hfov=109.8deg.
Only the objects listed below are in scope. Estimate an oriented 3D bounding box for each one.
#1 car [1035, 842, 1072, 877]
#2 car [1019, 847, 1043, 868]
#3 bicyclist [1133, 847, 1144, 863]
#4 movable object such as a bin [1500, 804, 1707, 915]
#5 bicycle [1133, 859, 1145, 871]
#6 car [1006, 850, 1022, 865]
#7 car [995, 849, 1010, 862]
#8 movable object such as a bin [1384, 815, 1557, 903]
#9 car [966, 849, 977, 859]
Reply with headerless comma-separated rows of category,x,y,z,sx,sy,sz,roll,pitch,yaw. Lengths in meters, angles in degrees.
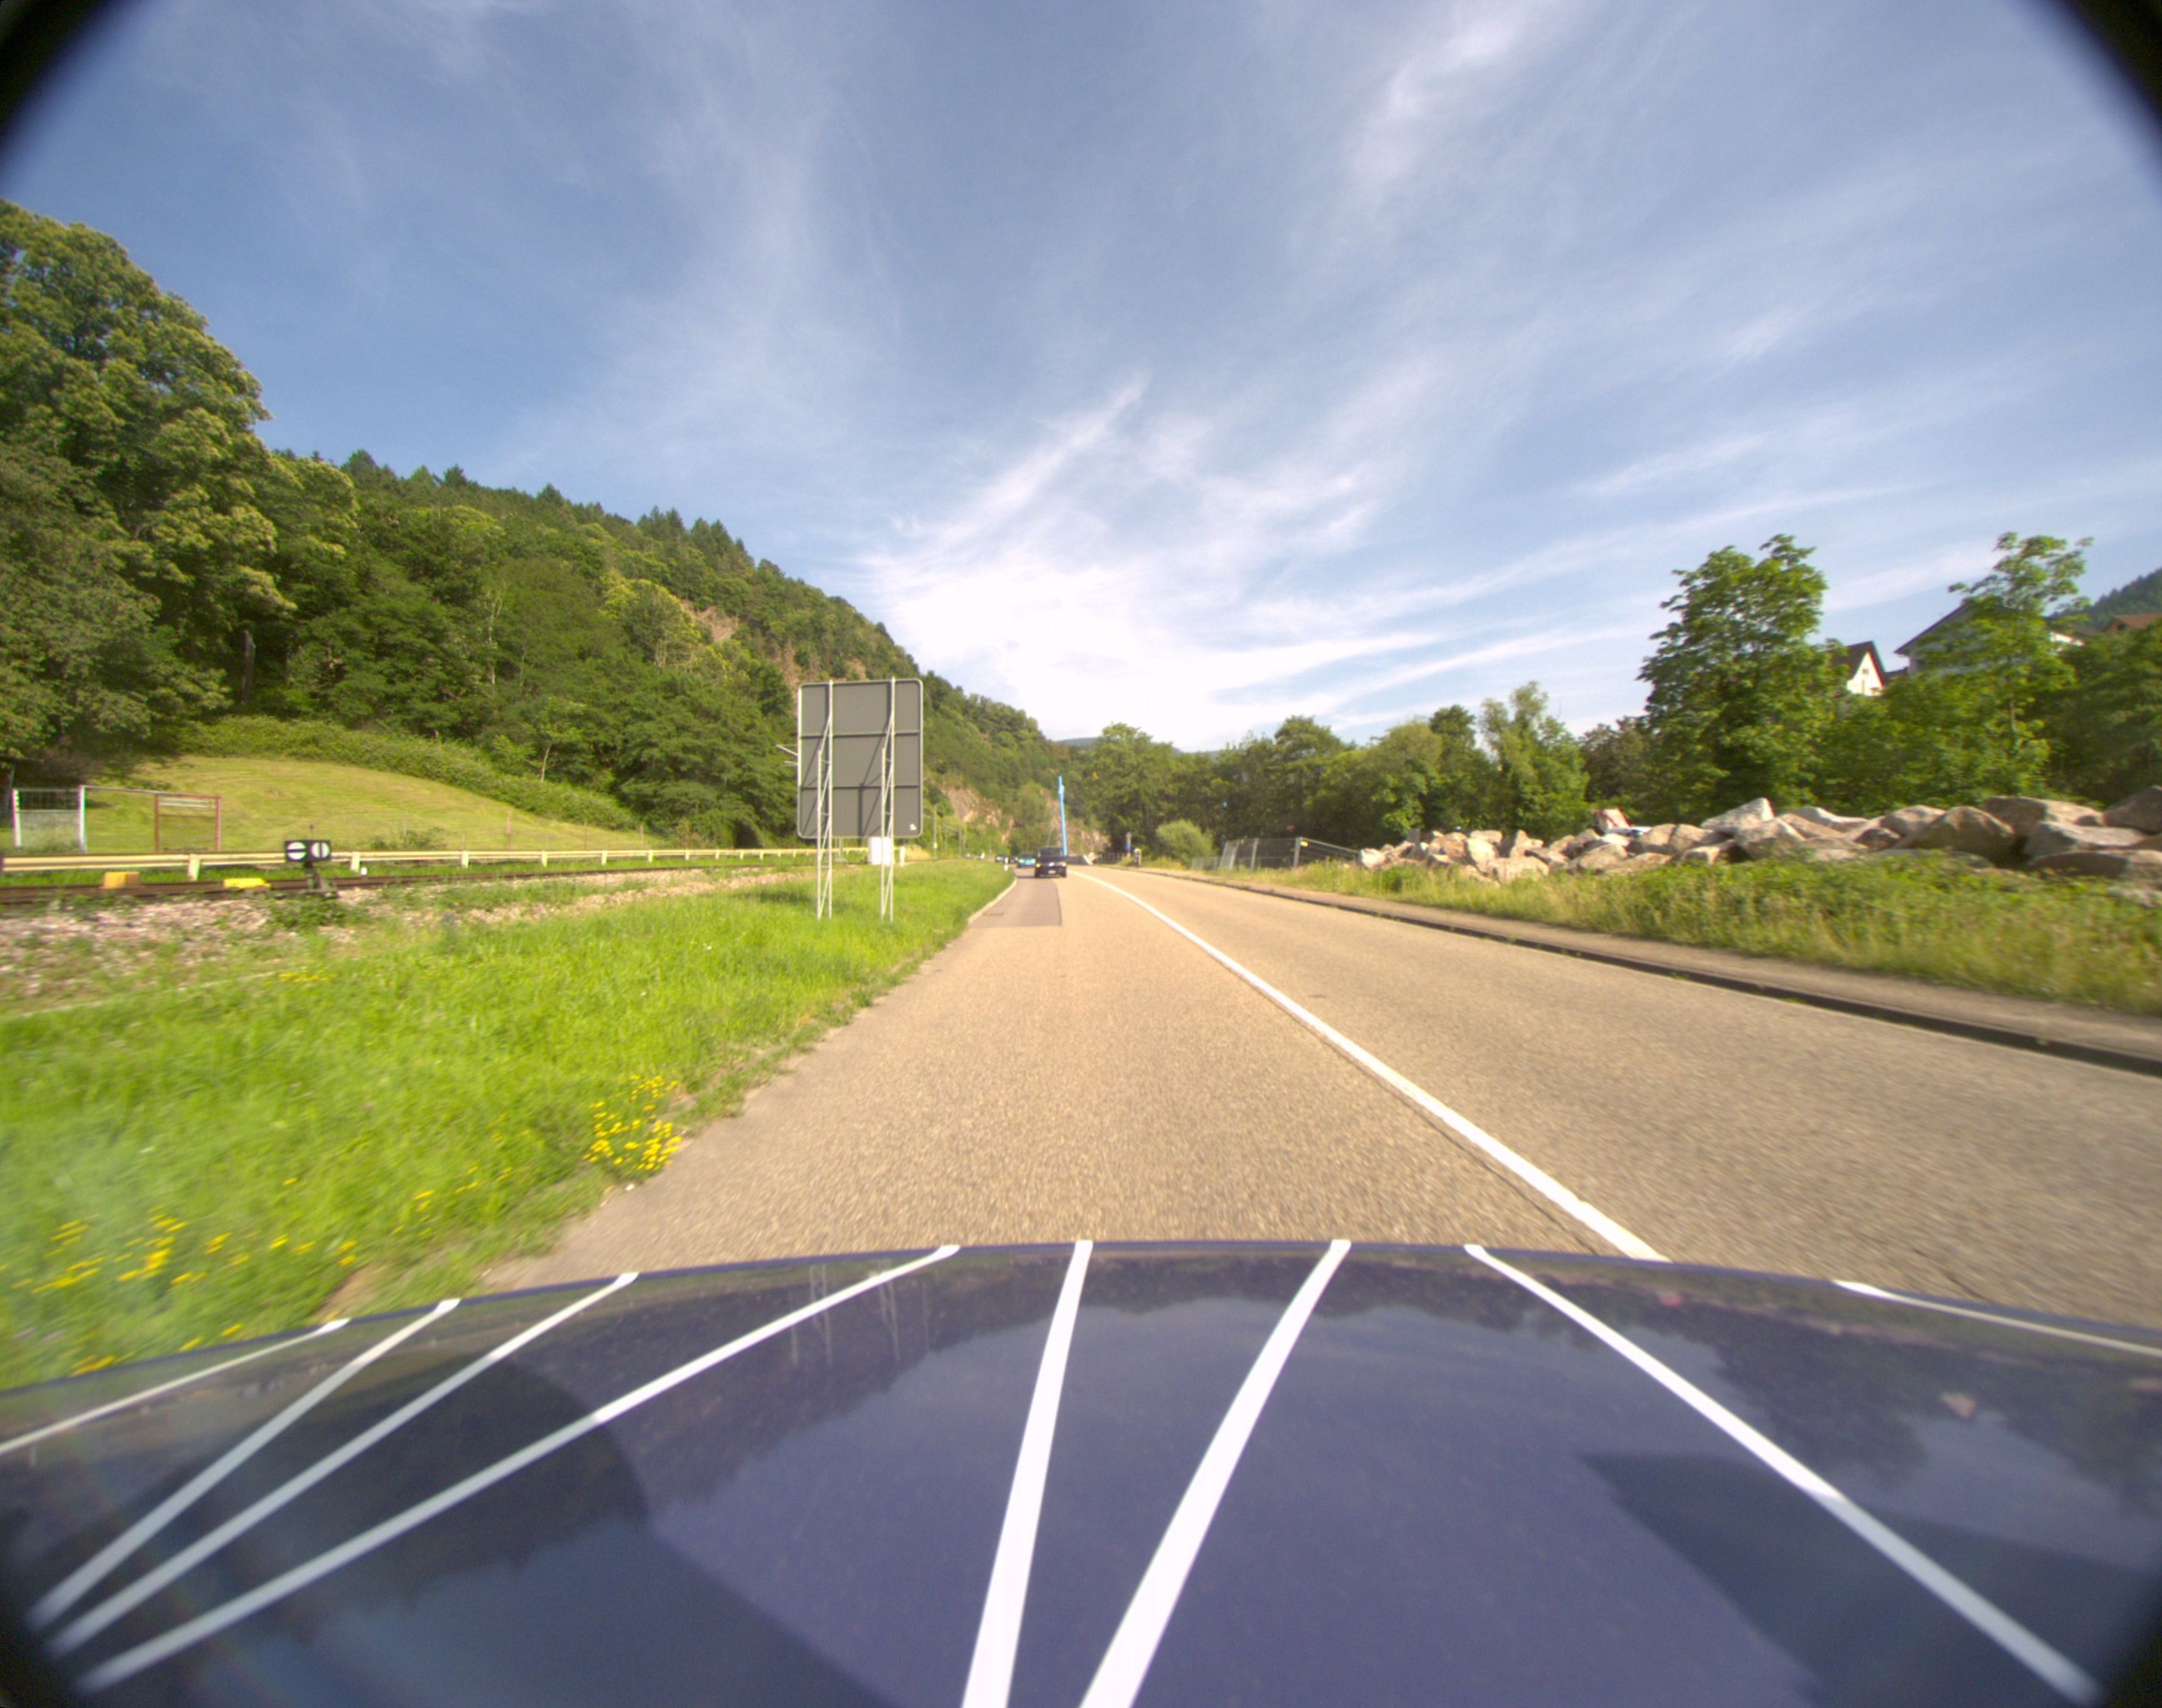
car,-1.768,0.391,47.532,2.000,2.001,3.999,1,-2,-6
car,-5.097,0.365,76.901,2.000,2.002,3.996,2,0,-10
bicyclist,4.448,0.083,58.552,0.686,1.218,0.857,-1,1,-6
movable object such as a bin,20.770,0.198,30.908,2.730,3.924,7.224,2,0,-7
bicycle,4.481,0.807,58.596,0.541,0.876,2.251,-2,1,-6
car,-9.372,0.431,106.004,2.000,2.002,3.997,2,0,-8
car,-12.597,0.245,121.824,2.000,2.002,3.996,2,0,-10
movable object such as a bin,19.695,0.192,39.452,2.708,3.924,9.982,2,0,-7
car,-21.454,0.029,148.893,2.000,2.002,3.998,2,0,-6
